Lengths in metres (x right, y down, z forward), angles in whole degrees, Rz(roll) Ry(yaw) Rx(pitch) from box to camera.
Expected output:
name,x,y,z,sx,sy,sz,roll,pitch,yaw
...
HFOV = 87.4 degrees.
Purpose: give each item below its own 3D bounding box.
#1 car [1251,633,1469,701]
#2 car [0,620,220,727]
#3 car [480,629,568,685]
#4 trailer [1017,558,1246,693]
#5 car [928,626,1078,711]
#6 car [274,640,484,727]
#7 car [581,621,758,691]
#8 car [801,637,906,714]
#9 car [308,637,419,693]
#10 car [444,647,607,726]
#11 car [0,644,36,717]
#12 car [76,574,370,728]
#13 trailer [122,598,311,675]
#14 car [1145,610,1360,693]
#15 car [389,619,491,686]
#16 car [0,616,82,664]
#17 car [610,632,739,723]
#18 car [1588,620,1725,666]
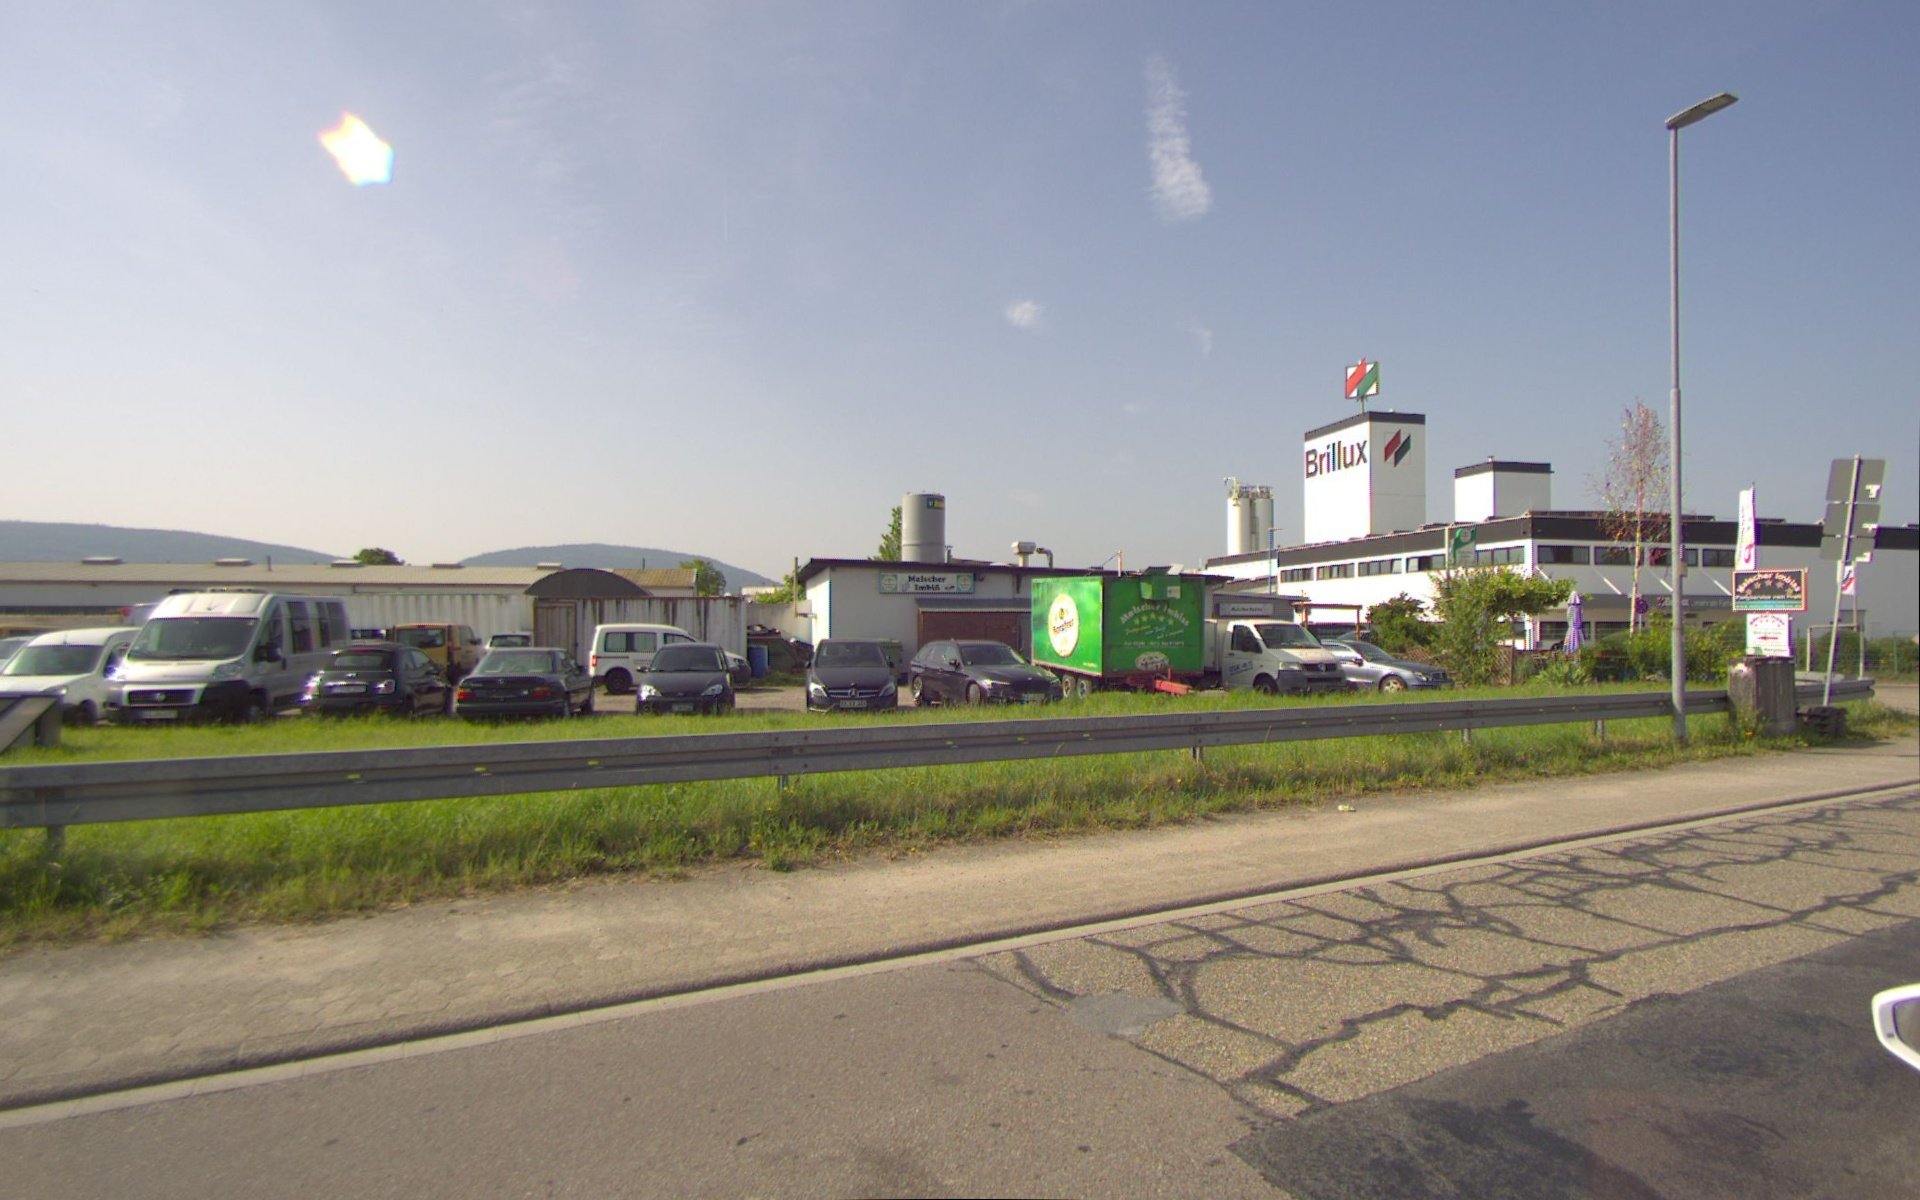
name,x,y,z,sx,sy,sz,roll,pitch,yaw
car,9.935,1.618,25.284,1.946,1.530,4.785,2,-3,-39
car,-15.661,1.283,18.259,1.774,1.685,4.396,-1,-2,-10
car,-14.714,1.919,34.102,1.965,1.772,3.992,0,-3,-12
trailer,3.621,0.658,23.050,2.807,2.638,6.310,0,-3,-15
car,0.747,1.421,21.714,2.139,1.554,5.135,-1,-2,-10
car,-10.652,1.473,18.858,1.887,1.372,4.758,-1,-2,-10
car,-7.835,1.510,27.453,4.450,1.699,1.995,2,0,-13
car,-2.298,1.463,20.485,1.747,1.335,4.959,-1,-2,-10
car,-16.811,1.802,28.514,1.734,1.483,3.656,0,-3,-15
car,-8.041,1.545,19.060,1.798,1.235,4.689,-1,-2,-10
car,-18.089,1.416,17.177,1.776,1.325,3.747,0,-3,-15
car,-13.310,0.922,18.718,2.253,2.403,5.398,-1,-2,-10
trailer,-22.674,1.150,31.015,2.176,2.152,5.761,0,-3,-8
car,6.768,1.216,23.984,1.973,1.728,5.248,1,-3,-25
car,-16.974,1.704,33.000,1.965,2.040,3.992,0,-3,-12
car,-30.800,1.324,32.798,1.734,1.483,3.656,0,-3,-15
car,-5.593,1.478,20.278,1.989,1.554,5.135,-1,-2,-10
car,29.021,1.775,42.044,2.112,1.775,4.659,0,-2,-8
